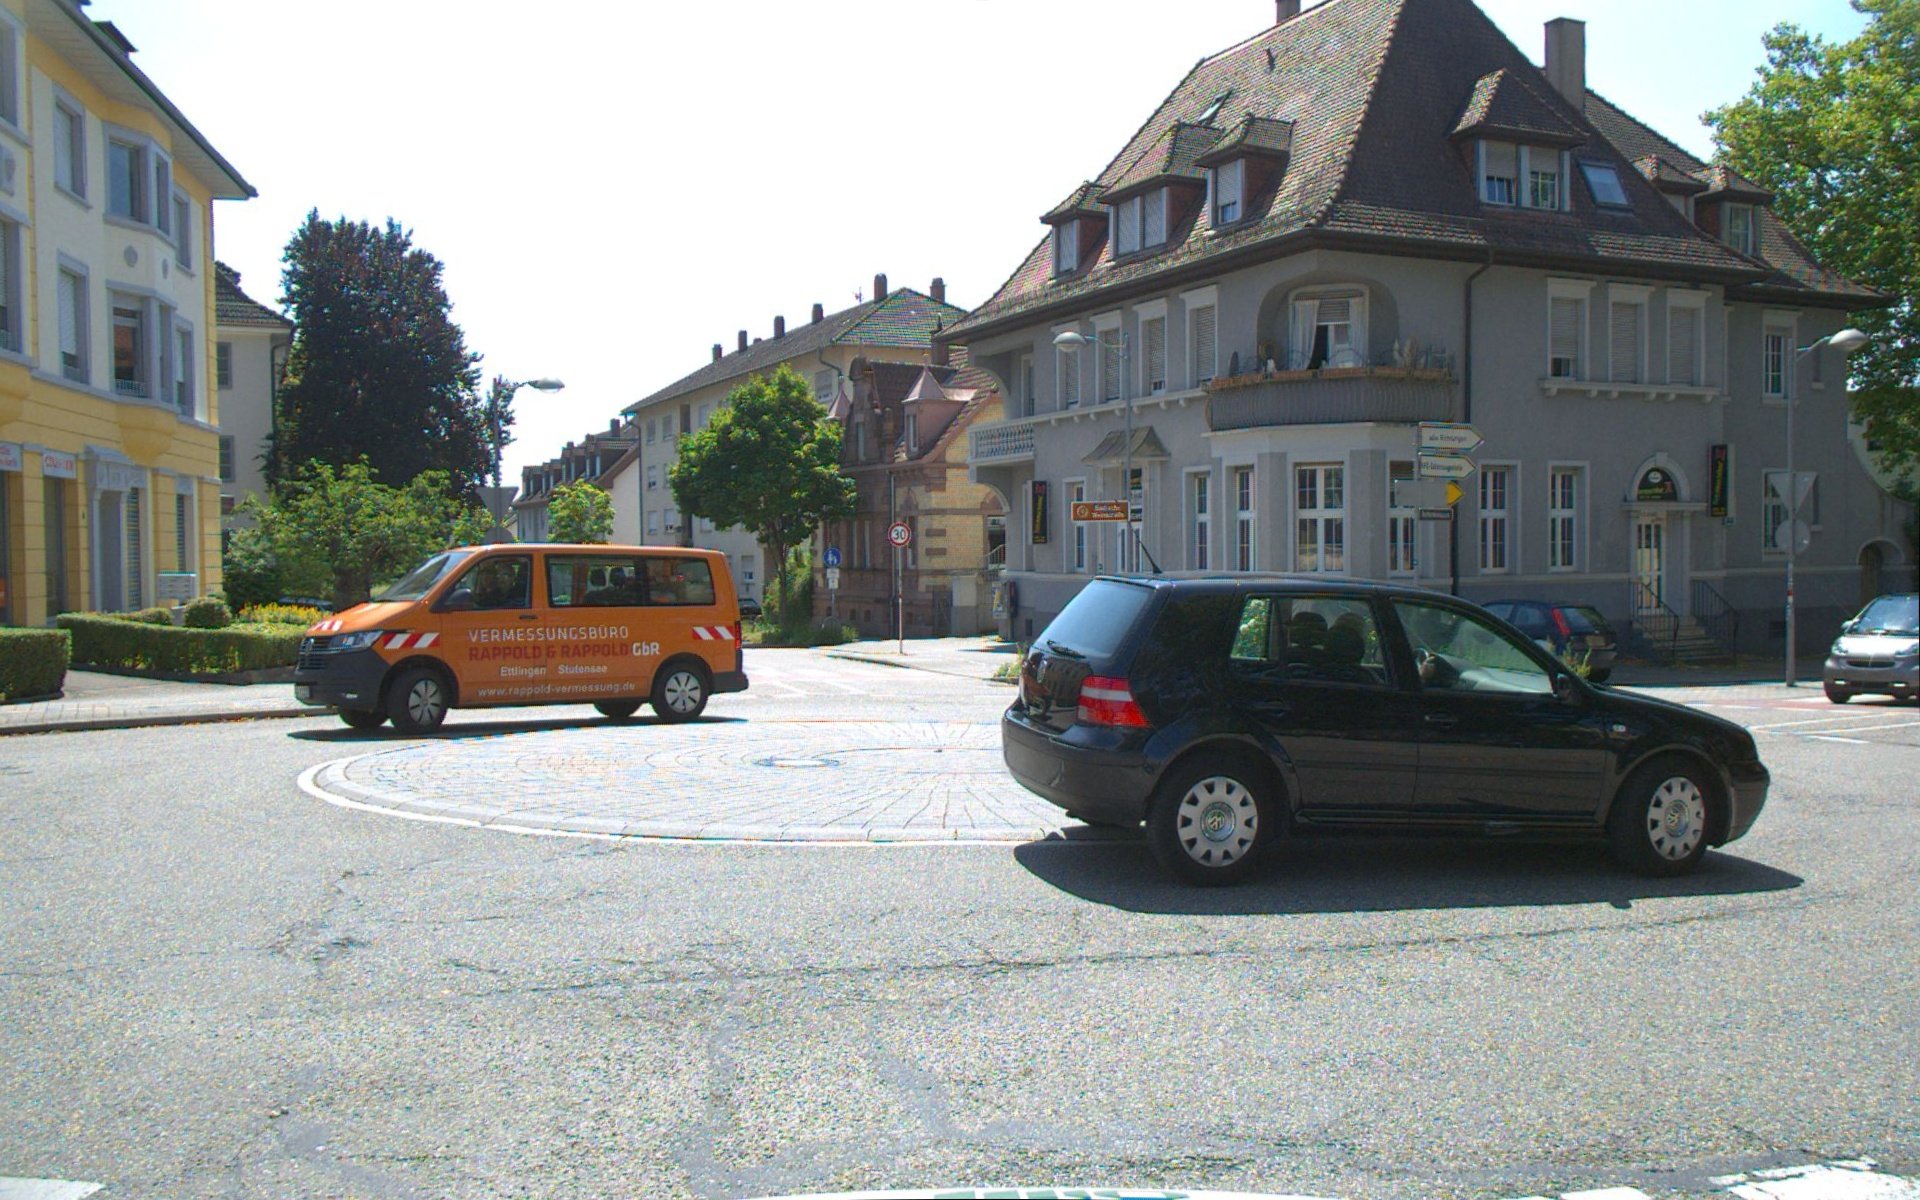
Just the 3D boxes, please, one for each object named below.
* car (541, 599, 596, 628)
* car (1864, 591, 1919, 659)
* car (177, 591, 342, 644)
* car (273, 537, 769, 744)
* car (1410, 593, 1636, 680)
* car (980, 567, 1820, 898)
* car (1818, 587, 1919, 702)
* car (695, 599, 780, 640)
[{"bbox_3d":[-21.045,0.704,88.824,1.970,1.535,4.381,0,0,-26],"label":"car"},{"bbox_3d":[23.349,0.585,38.831,1.701,1.573,3.358,0,0,-30],"label":"car"},{"bbox_3d":[-21.190,0.516,50.075,4.364,1.535,1.977,0,0,-33],"label":"car"},{"bbox_3d":[-4.733,0.338,18.232,4.966,1.993,1.925,-1,1,-36],"label":"car"},{"bbox_3d":[10.229,0.624,30.302,1.701,1.486,3.754,0,0,-30],"label":"car"},{"bbox_3d":[2.234,0.594,8.767,3.975,1.472,1.711,0,2,-14],"label":"car"},{"bbox_3d":[13.772,0.603,23.741,2.757,1.557,1.550,0,0,-36],"label":"car"},{"bbox_3d":[-8.680,0.733,64.275,1.970,1.535,4.381,0,0,-26],"label":"car"}]
